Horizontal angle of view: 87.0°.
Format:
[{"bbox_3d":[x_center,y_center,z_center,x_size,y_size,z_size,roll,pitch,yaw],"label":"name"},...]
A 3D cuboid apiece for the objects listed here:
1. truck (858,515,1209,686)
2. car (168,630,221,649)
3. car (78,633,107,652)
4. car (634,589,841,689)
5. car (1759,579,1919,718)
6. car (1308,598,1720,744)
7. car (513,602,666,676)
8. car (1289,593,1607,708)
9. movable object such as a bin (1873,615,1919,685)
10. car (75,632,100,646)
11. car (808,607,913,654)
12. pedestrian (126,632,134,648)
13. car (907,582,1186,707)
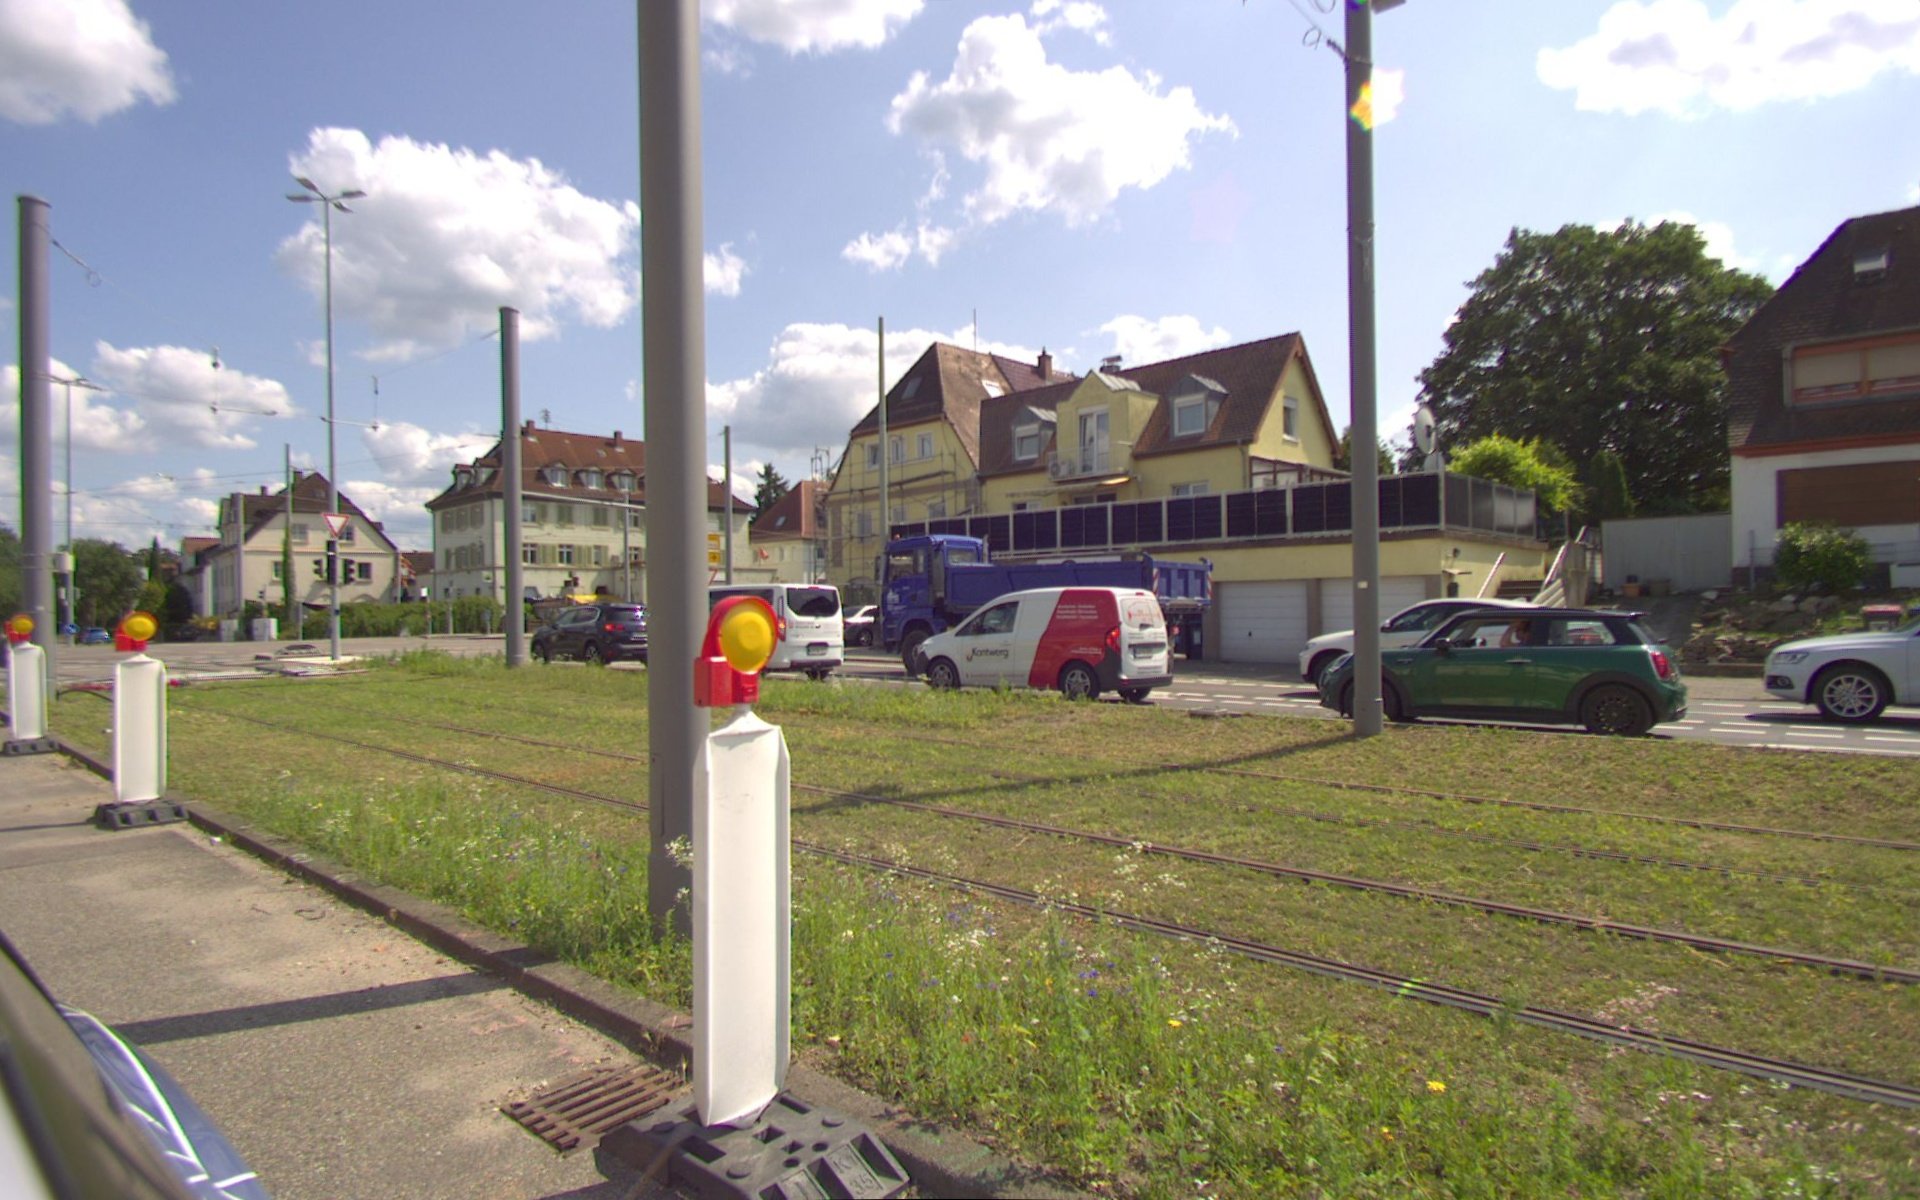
[{"bbox_3d":[1.398,0.078,22.510,7.574,3.212,2.741,-1,-1,39],"label":"truck"},{"bbox_3d":[-59.638,3.040,78.920,1.733,1.397,4.112,-1,-1,-13],"label":"car"},{"bbox_3d":[-70.969,3.468,82.782,1.685,1.473,3.158,0,-2,-43],"label":"car"},{"bbox_3d":[-4.855,0.798,21.715,4.743,1.936,1.796,-1,-1,39],"label":"car"},{"bbox_3d":[12.740,0.576,12.479,4.501,1.681,1.825,-1,-1,39],"label":"car"},{"bbox_3d":[6.433,0.737,11.956,3.996,1.429,1.896,-1,-1,39],"label":"car"},{"bbox_3d":[-9.610,0.999,26.058,4.438,1.734,1.768,-2,-2,41],"label":"car"},{"bbox_3d":[7.993,0.777,16.843,4.435,1.672,1.824,-1,-1,41],"label":"car"},{"bbox_3d":[16.477,0.869,17.775,0.573,1.193,0.441,-1,-1,35],"label":"movable object such as a bin"},{"bbox_3d":[-82.847,3.727,96.090,1.684,1.306,3.924,0,-2,-40],"label":"car"},{"bbox_3d":[-3.667,1.102,37.842,1.433,1.504,4.094,-2,1,39],"label":"car"},{"bbox_3d":[-79.001,3.803,96.346,0.622,1.547,0.619,0,-2,-38],"label":"pedestrian"},{"bbox_3d":[1.325,0.688,16.708,4.400,1.795,1.715,-1,-1,39],"label":"car"}]
